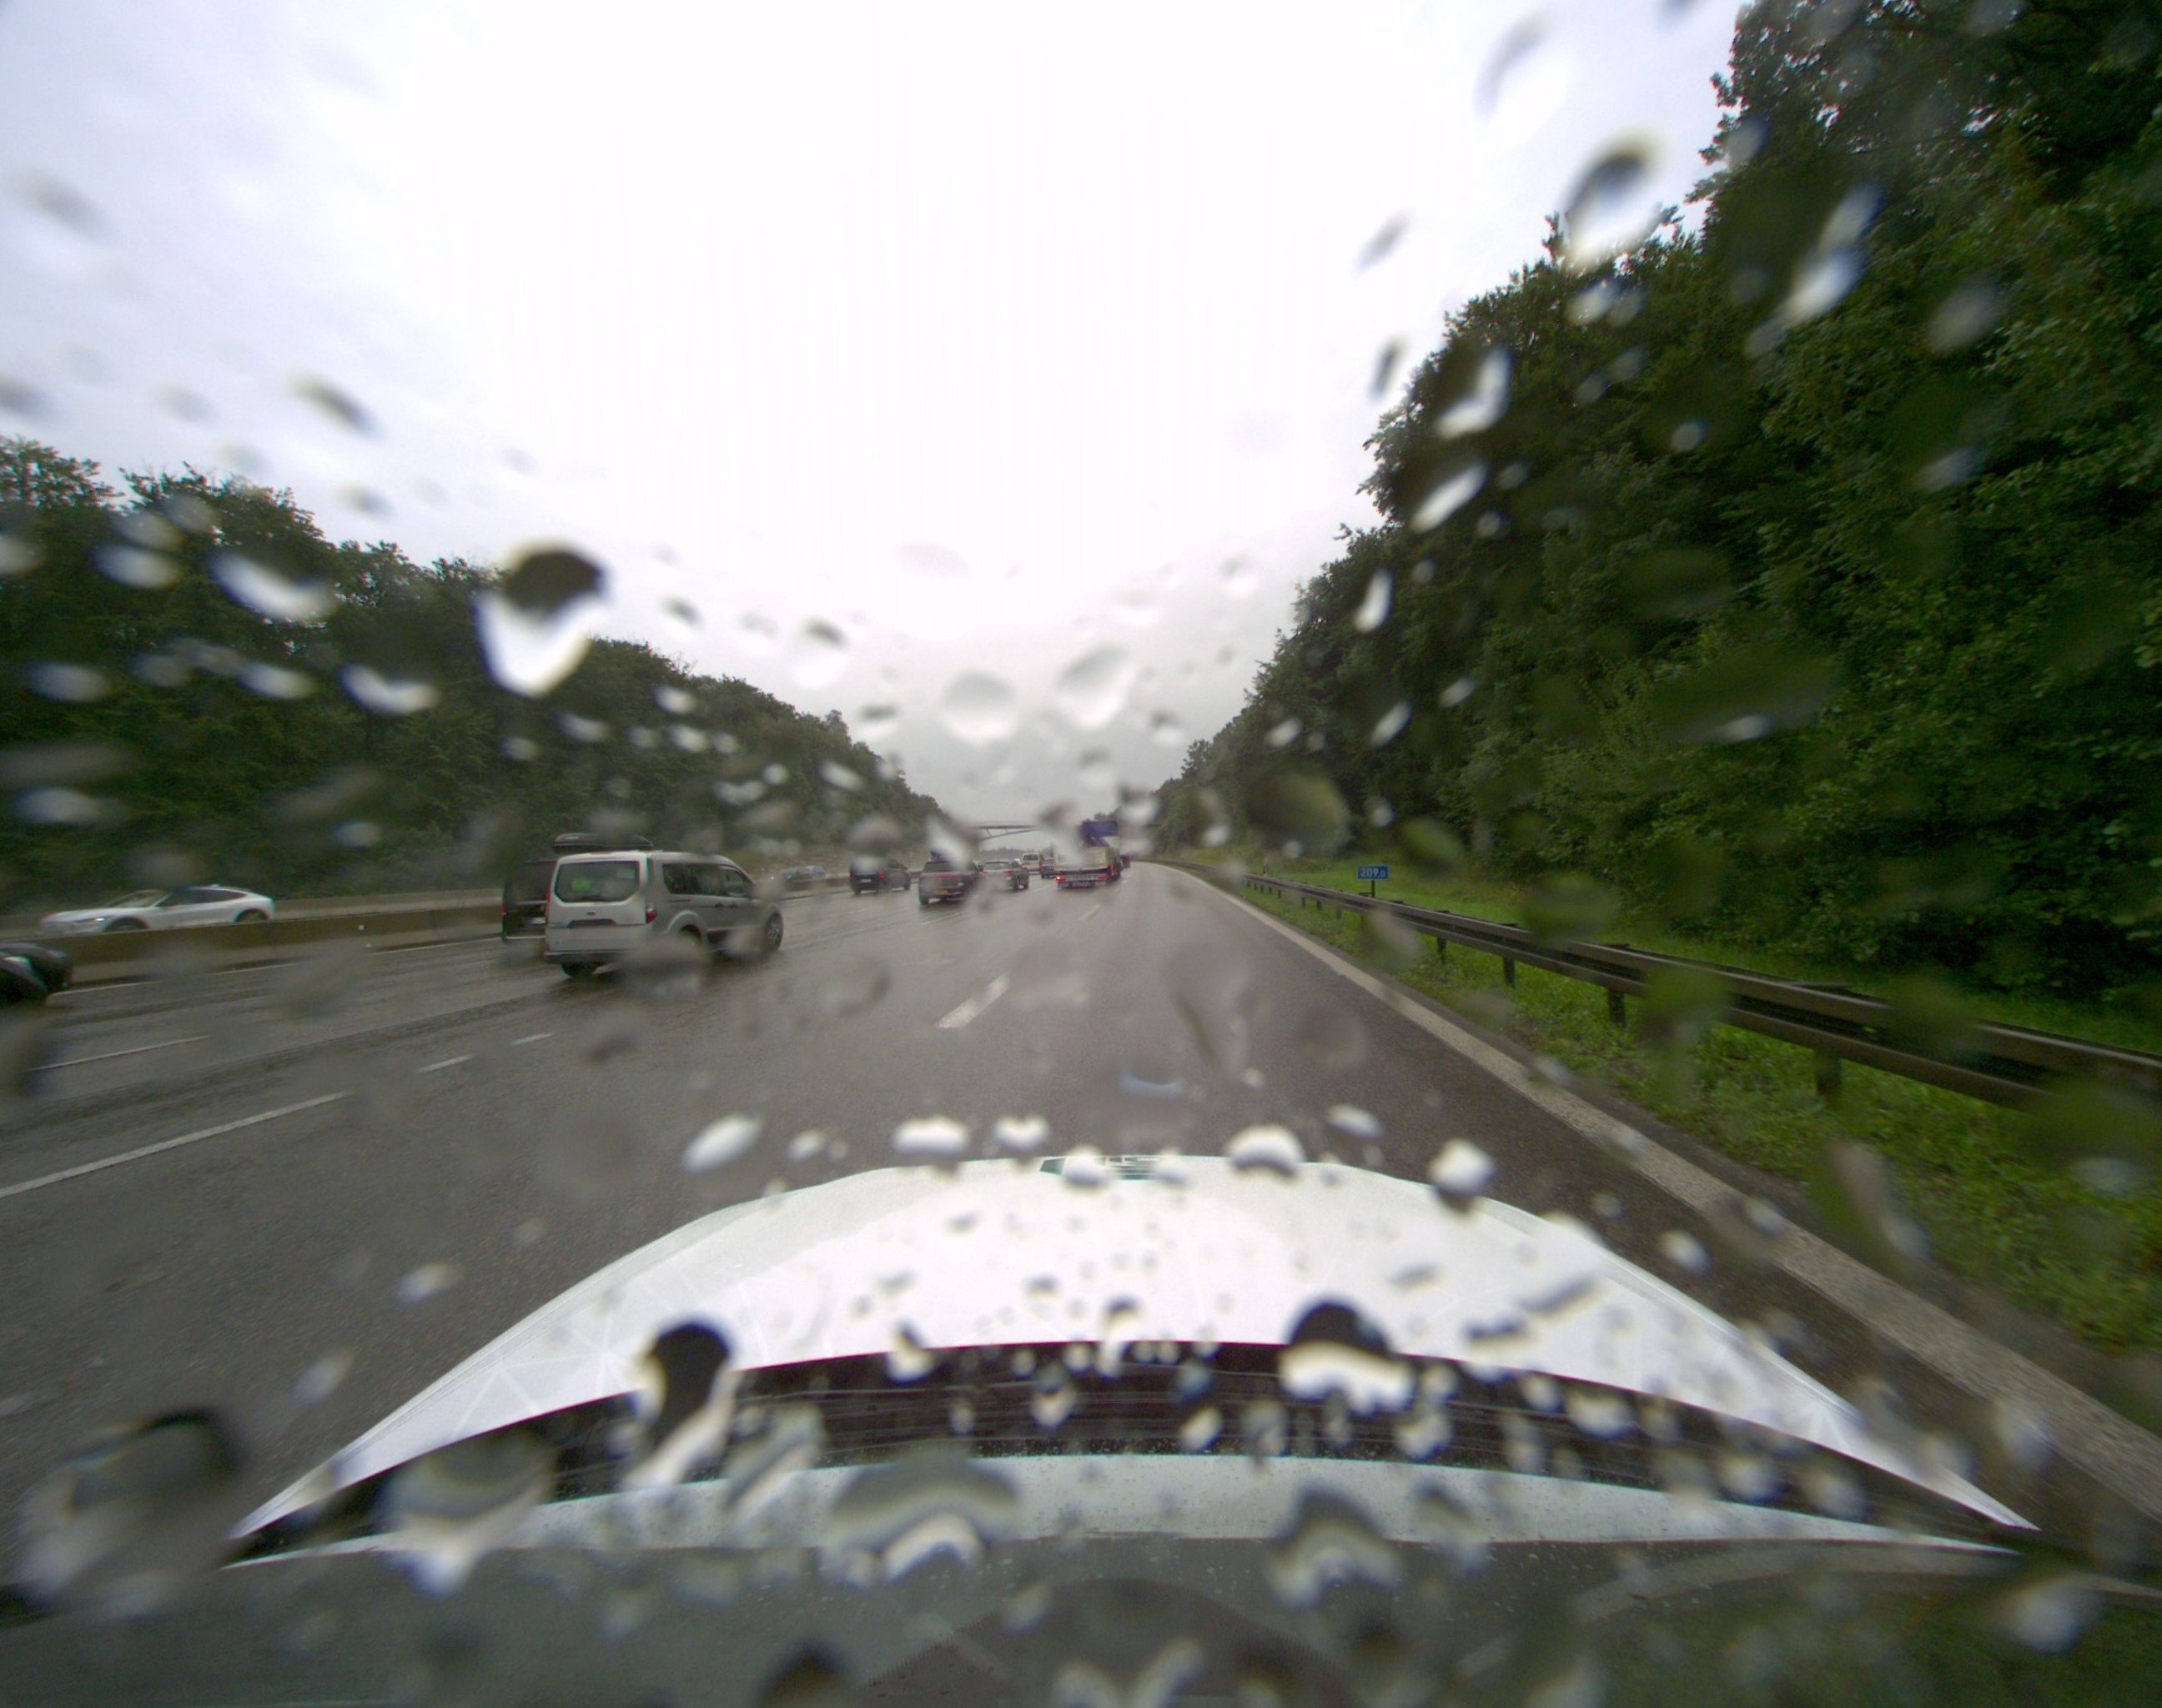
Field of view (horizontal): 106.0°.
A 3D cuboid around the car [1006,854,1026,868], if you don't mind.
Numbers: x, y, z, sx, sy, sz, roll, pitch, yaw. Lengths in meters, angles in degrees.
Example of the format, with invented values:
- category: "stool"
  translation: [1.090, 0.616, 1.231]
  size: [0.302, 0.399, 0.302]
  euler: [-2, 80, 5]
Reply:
- category: "car"
  translation: [-7.469, 0.832, 93.987]
  size: [1.614, 1.448, 3.766]
  euler: [2, -1, 6]

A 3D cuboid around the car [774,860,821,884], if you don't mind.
- category: "car"
  translation: [-22.895, 1.415, 65.923]
  size: [1.853, 1.770, 4.592]
  euler: [-2, 0, 4]

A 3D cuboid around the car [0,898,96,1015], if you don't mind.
- category: "car"
  translation: [-14.363, 1.328, 9.090]
  size: [1.664, 1.404, 4.006]
  euler: [-2, 0, 6]

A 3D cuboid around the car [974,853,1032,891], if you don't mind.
- category: "car"
  translation: [-3.661, 0.840, 39.072]
  size: [1.928, 1.662, 4.007]
  euler: [-2, 0, 6]

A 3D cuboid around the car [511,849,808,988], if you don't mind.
- category: "car"
  translation: [-6.337, 0.845, 13.007]
  size: [1.835, 1.751, 4.576]
  euler: [-3, 0, 7]

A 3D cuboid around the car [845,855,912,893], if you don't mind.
- category: "car"
  translation: [-10.619, 1.025, 42.982]
  size: [1.918, 1.832, 4.594]
  euler: [-2, 0, 6]

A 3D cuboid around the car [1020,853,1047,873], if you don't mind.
- category: "car"
  translation: [-4.446, 0.874, 76.974]
  size: [1.835, 1.860, 4.006]
  euler: [2, -1, 6]

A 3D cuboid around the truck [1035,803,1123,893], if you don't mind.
- category: "truck"
  translation: [0.192, -0.293, 43.921]
  size: [3.583, 4.105, 11.576]
  euler: [-2, 0, 5]

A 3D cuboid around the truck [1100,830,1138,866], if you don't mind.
- category: "truck"
  translation: [4.778, -0.602, 98.570]
  size: [3.735, 3.971, 11.077]
  euler: [2, -1, 6]

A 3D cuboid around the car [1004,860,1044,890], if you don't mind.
- category: "car"
  translation: [-3.387, 1.216, 49.117]
  size: [1.746, 1.647, 4.006]
  euler: [-2, 0, 5]

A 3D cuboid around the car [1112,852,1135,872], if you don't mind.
- category: "car"
  translation: [4.082, 0.783, 77.962]
  size: [1.983, 1.800, 4.006]
  euler: [2, -1, 6]

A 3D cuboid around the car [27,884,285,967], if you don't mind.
- category: "car"
  translation: [-26.501, 1.970, 23.642]
  size: [1.983, 1.944, 4.594]
  euler: [-2, 0, 6]

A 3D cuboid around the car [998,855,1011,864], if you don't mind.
- category: "car"
  translation: [-16.330, 1.110, 173.630]
  size: [1.985, 1.823, 4.004]
  euler: [-2, 0, 4]

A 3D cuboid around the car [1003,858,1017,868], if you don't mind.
- category: "car"
  translation: [-12.713, 1.581, 145.011]
  size: [1.986, 1.678, 4.000]
  euler: [2, -1, 1]

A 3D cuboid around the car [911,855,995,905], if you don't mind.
- category: "car"
  translation: [-4.574, 0.946, 29.729]
  size: [1.983, 1.636, 4.006]
  euler: [2, -1, 6]

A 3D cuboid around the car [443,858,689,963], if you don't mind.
- category: "car"
  translation: [-10.125, 1.020, 16.479]
  size: [1.983, 1.798, 4.162]
  euler: [-2, 0, 7]

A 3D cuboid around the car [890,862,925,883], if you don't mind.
- category: "car"
  translation: [-15.679, 1.651, 73.835]
  size: [1.985, 1.769, 4.004]
  euler: [-2, 0, 4]

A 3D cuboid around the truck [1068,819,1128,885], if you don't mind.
- category: "truck"
  translation: [1.421, 0.020, 59.330]
  size: [3.491, 4.268, 10.616]
  euler: [2, -1, 5]

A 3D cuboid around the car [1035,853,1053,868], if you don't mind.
- category: "car"
  translation: [-4.598, 0.814, 101.782]
  size: [1.843, 1.663, 4.004]
  euler: [2, -1, 4]

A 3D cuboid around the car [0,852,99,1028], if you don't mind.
- category: "car"
  translation: [-11.006, 0.822, 5.761]
  size: [1.983, 1.594, 4.817]
  euler: [-2, 0, 7]

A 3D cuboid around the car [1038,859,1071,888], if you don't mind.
- category: "car"
  translation: [-1.910, 1.458, 59.751]
  size: [1.783, 2.014, 4.007]
  euler: [2, -1, 7]

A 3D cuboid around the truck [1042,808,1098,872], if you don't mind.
- category: "truck"
  translation: [-0.861, -1.145, 76.533]
  size: [3.734, 5.499, 10.191]
  euler: [2, -1, 7]
